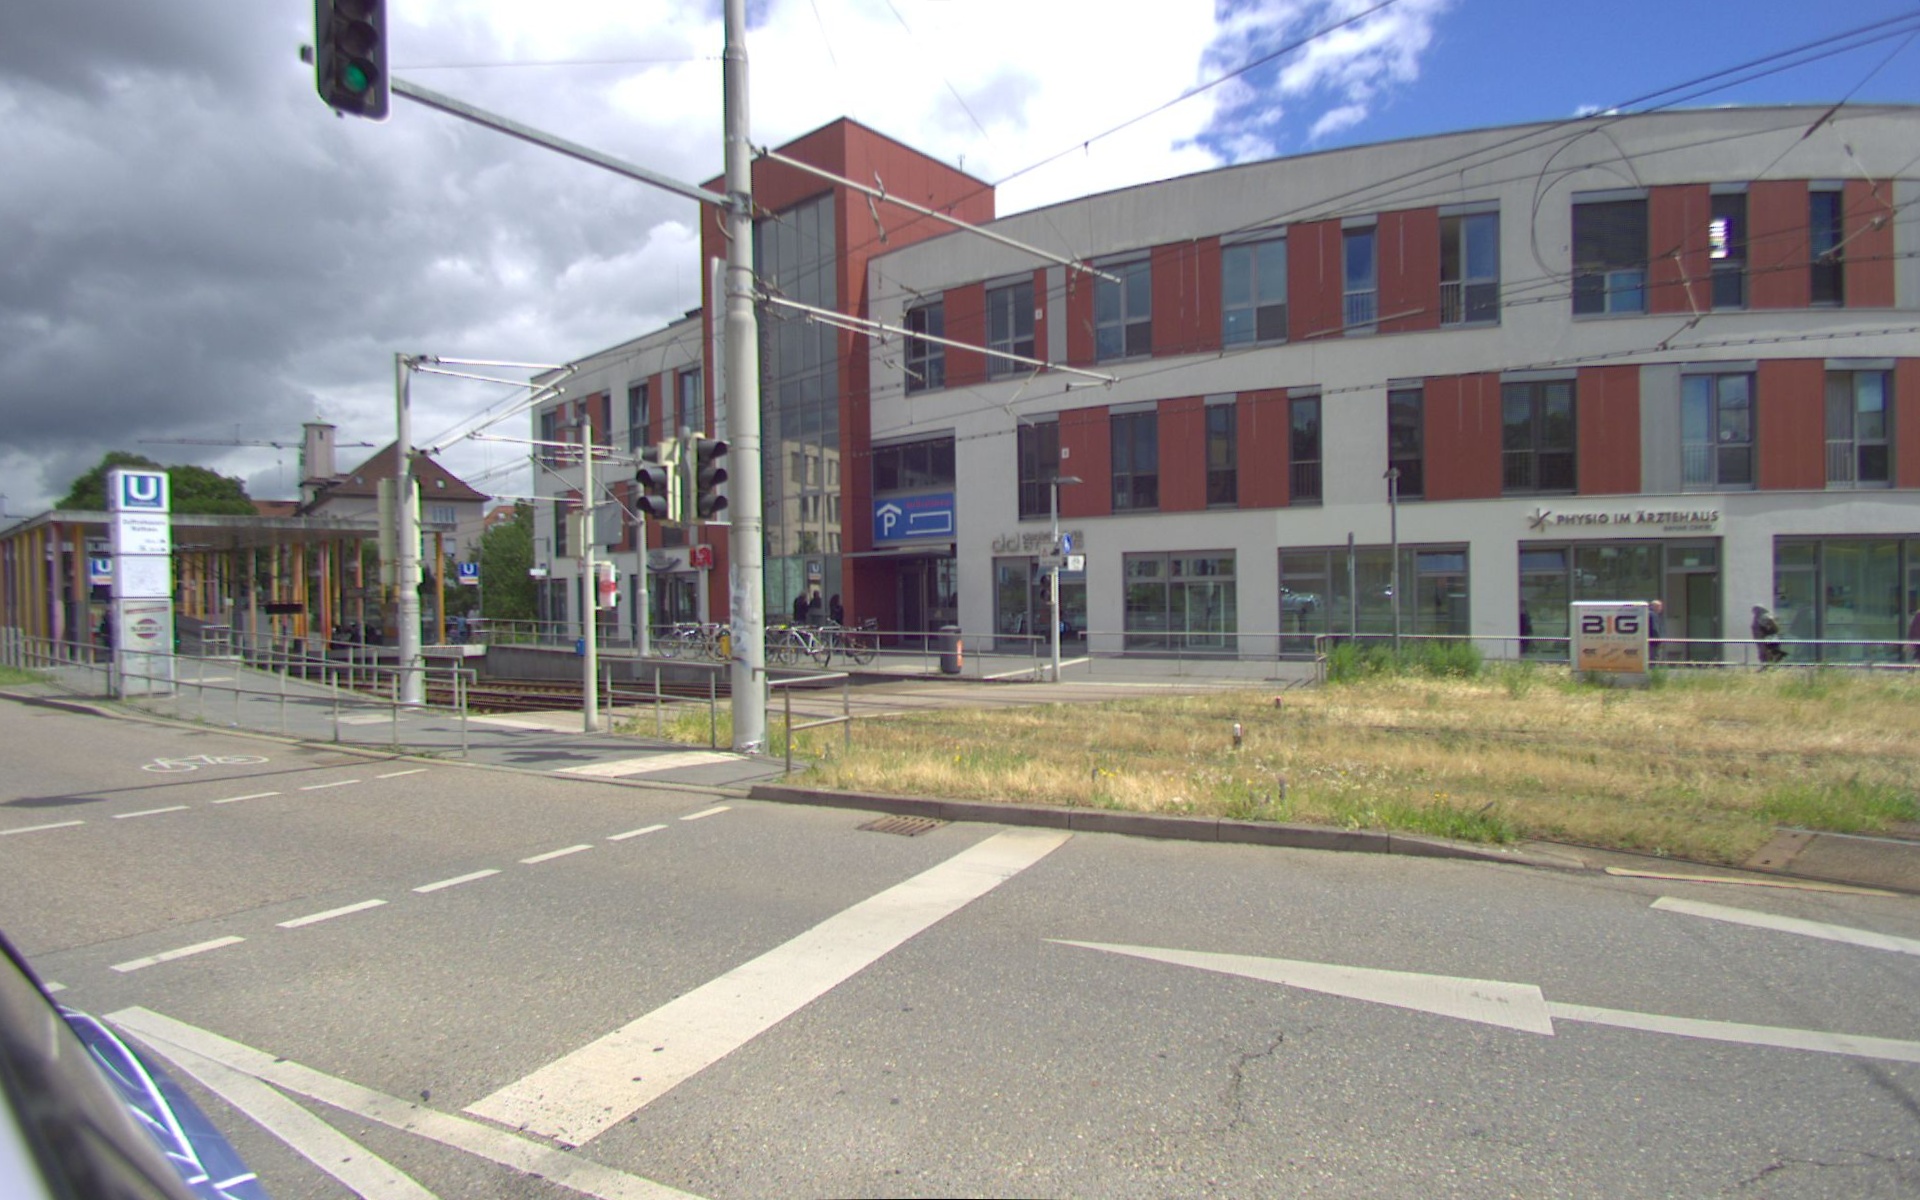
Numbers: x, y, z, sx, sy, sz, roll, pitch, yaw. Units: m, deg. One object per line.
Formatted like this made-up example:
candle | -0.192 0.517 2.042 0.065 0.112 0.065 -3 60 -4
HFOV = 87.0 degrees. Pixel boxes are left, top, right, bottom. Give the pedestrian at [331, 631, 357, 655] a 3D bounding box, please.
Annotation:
pedestrian | -30.805 2.134 50.621 0.886 1.143 0.931 -2 -1 42

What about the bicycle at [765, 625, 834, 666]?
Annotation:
bicycle | -4.055 1.136 25.703 0.454 0.942 1.837 -1 0 43

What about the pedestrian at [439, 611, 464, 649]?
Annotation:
pedestrian | -26.392 1.550 52.552 0.852 1.983 1.107 1 -1 -44

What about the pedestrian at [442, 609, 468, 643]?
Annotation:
pedestrian | -29.692 1.537 59.485 1.091 1.983 0.864 0 -1 3

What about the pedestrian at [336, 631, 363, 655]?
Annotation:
pedestrian | -30.115 2.130 49.903 0.886 1.143 0.931 -2 -1 42

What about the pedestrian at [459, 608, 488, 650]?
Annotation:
pedestrian | -22.922 1.349 47.658 1.106 1.983 0.852 0 -1 43

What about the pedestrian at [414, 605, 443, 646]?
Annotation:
pedestrian | -26.170 1.255 49.819 1.105 1.983 0.853 0 -1 39

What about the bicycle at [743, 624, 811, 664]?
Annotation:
bicycle | -4.738 1.125 26.338 0.454 0.970 1.837 -1 0 43

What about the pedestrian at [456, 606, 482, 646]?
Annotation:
pedestrian | -24.870 1.319 51.258 0.852 1.983 1.107 1 -1 -44

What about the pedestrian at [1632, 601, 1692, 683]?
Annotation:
pedestrian | 13.844 0.816 19.975 0.684 1.592 0.733 -1 -1 11

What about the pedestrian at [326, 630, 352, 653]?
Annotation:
pedestrian | -31.556 2.105 51.425 0.886 1.143 0.931 -2 -1 42

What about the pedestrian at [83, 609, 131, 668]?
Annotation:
pedestrian | -28.268 1.257 33.538 0.864 1.929 1.090 0 -1 42

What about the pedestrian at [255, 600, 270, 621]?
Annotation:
pedestrian | -66.142 0.992 95.981 1.108 2.029 1.664 0 -1 -36

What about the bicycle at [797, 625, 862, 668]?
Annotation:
bicycle | -3.223 1.136 25.076 0.428 0.965 1.716 -1 0 43

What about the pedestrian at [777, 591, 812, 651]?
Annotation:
pedestrian | -5.311 0.662 32.483 0.856 1.859 0.876 0 1 13

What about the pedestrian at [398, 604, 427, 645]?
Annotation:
pedestrian | -26.663 1.173 49.279 1.105 1.983 0.853 0 -1 39

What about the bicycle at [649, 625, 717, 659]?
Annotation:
bicycle | -7.875 1.189 28.832 1.834 0.888 0.455 0 0 -41

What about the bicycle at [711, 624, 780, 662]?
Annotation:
bicycle | -5.696 1.136 26.986 1.836 0.946 0.455 0 0 -45

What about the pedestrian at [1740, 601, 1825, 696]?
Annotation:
pedestrian | 17.623 1.026 21.715 1.104 1.983 0.862 0 -1 10

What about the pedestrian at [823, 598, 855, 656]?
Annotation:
pedestrian | -3.652 0.811 30.425 0.921 1.711 0.790 0 -1 -9

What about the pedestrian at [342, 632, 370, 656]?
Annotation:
pedestrian | -29.398 2.127 49.268 0.886 1.143 0.931 -2 -1 42

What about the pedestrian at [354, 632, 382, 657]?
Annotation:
pedestrian | -28.549 2.128 48.794 0.886 1.143 0.931 -2 -1 42

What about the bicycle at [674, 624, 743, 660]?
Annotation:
bicycle | -6.981 1.152 28.144 1.835 0.939 0.455 0 0 -41

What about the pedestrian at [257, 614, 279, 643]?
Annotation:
pedestrian | -49.612 2.046 72.571 1.112 2.029 1.180 0 -2 -44

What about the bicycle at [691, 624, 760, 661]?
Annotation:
bicycle | -6.369 1.149 27.585 1.835 0.929 0.455 0 0 -42

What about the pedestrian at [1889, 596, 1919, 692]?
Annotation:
pedestrian | 20.363 0.914 21.141 1.094 1.983 0.861 0 -1 11

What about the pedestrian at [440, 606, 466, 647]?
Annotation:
pedestrian | -25.427 1.313 50.707 0.852 1.983 1.107 1 -1 -44

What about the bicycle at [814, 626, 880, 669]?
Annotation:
bicycle | -2.736 1.137 24.673 0.428 0.959 1.716 -1 0 43

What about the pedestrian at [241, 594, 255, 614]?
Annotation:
pedestrian | -74.340 0.438 105.653 1.112 2.029 0.816 0 -2 -44
